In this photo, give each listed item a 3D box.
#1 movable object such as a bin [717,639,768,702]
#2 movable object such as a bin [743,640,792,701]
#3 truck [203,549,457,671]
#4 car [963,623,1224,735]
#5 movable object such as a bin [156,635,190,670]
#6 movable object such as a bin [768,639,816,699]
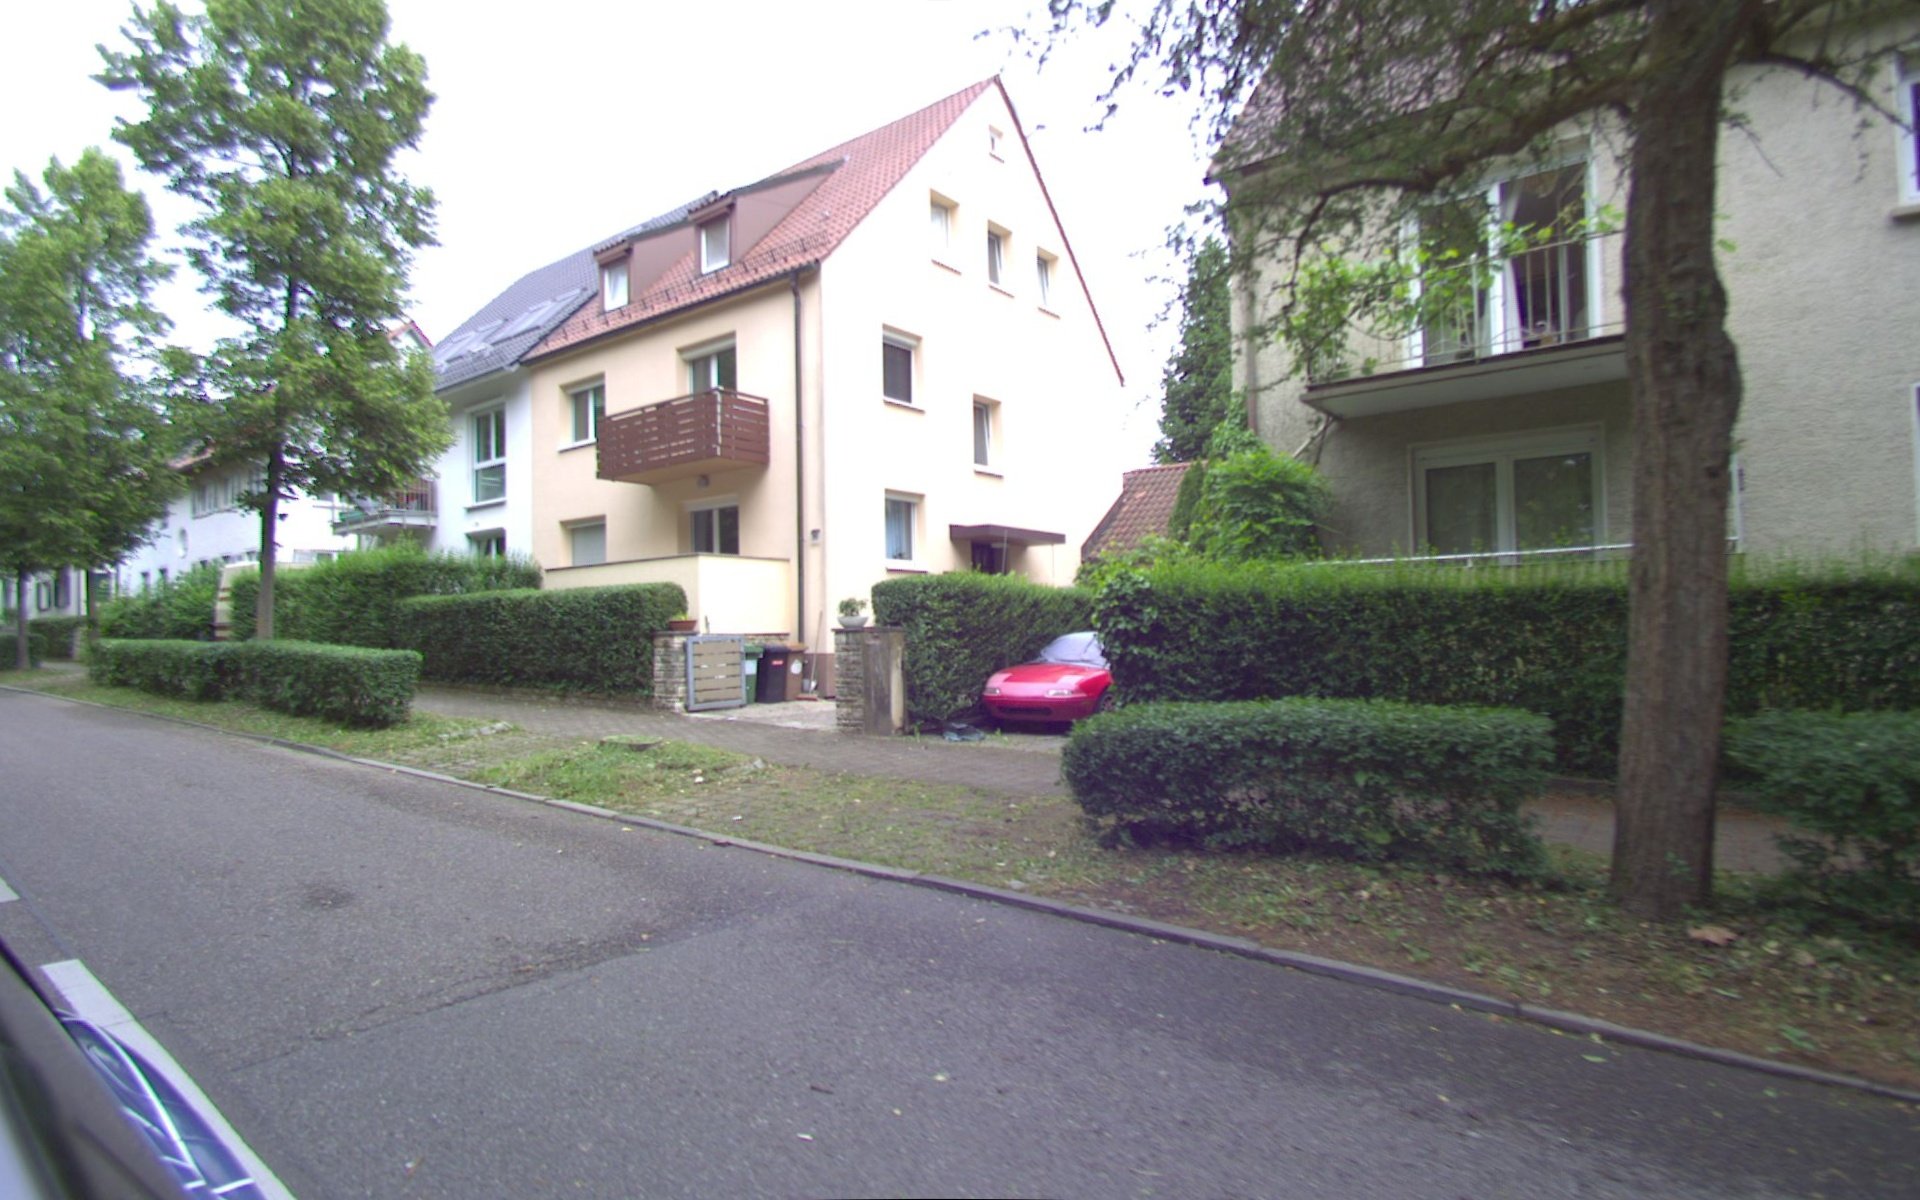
[{"bbox_3d":[-3.280,1.050,15.260,0.569,0.918,0.483,-1,-2,36],"label":"movable object such as a bin"},{"bbox_3d":[-2.979,1.076,15.672,0.569,0.918,0.483,-1,-2,36],"label":"movable object such as a bin"},{"bbox_3d":[-18.018,0.300,29.269,2.513,3.155,5.743,-1,-1,36],"label":"truck"},{"bbox_3d":[1.901,0.923,13.376,1.695,1.208,3.949,-1,-1,37],"label":"car"},{"bbox_3d":[-21.314,1.422,27.396,0.692,0.933,0.574,-1,-3,40],"label":"movable object such as a bin"},{"bbox_3d":[-2.667,1.086,16.102,0.569,0.918,0.483,-1,-2,36],"label":"movable object such as a bin"}]
